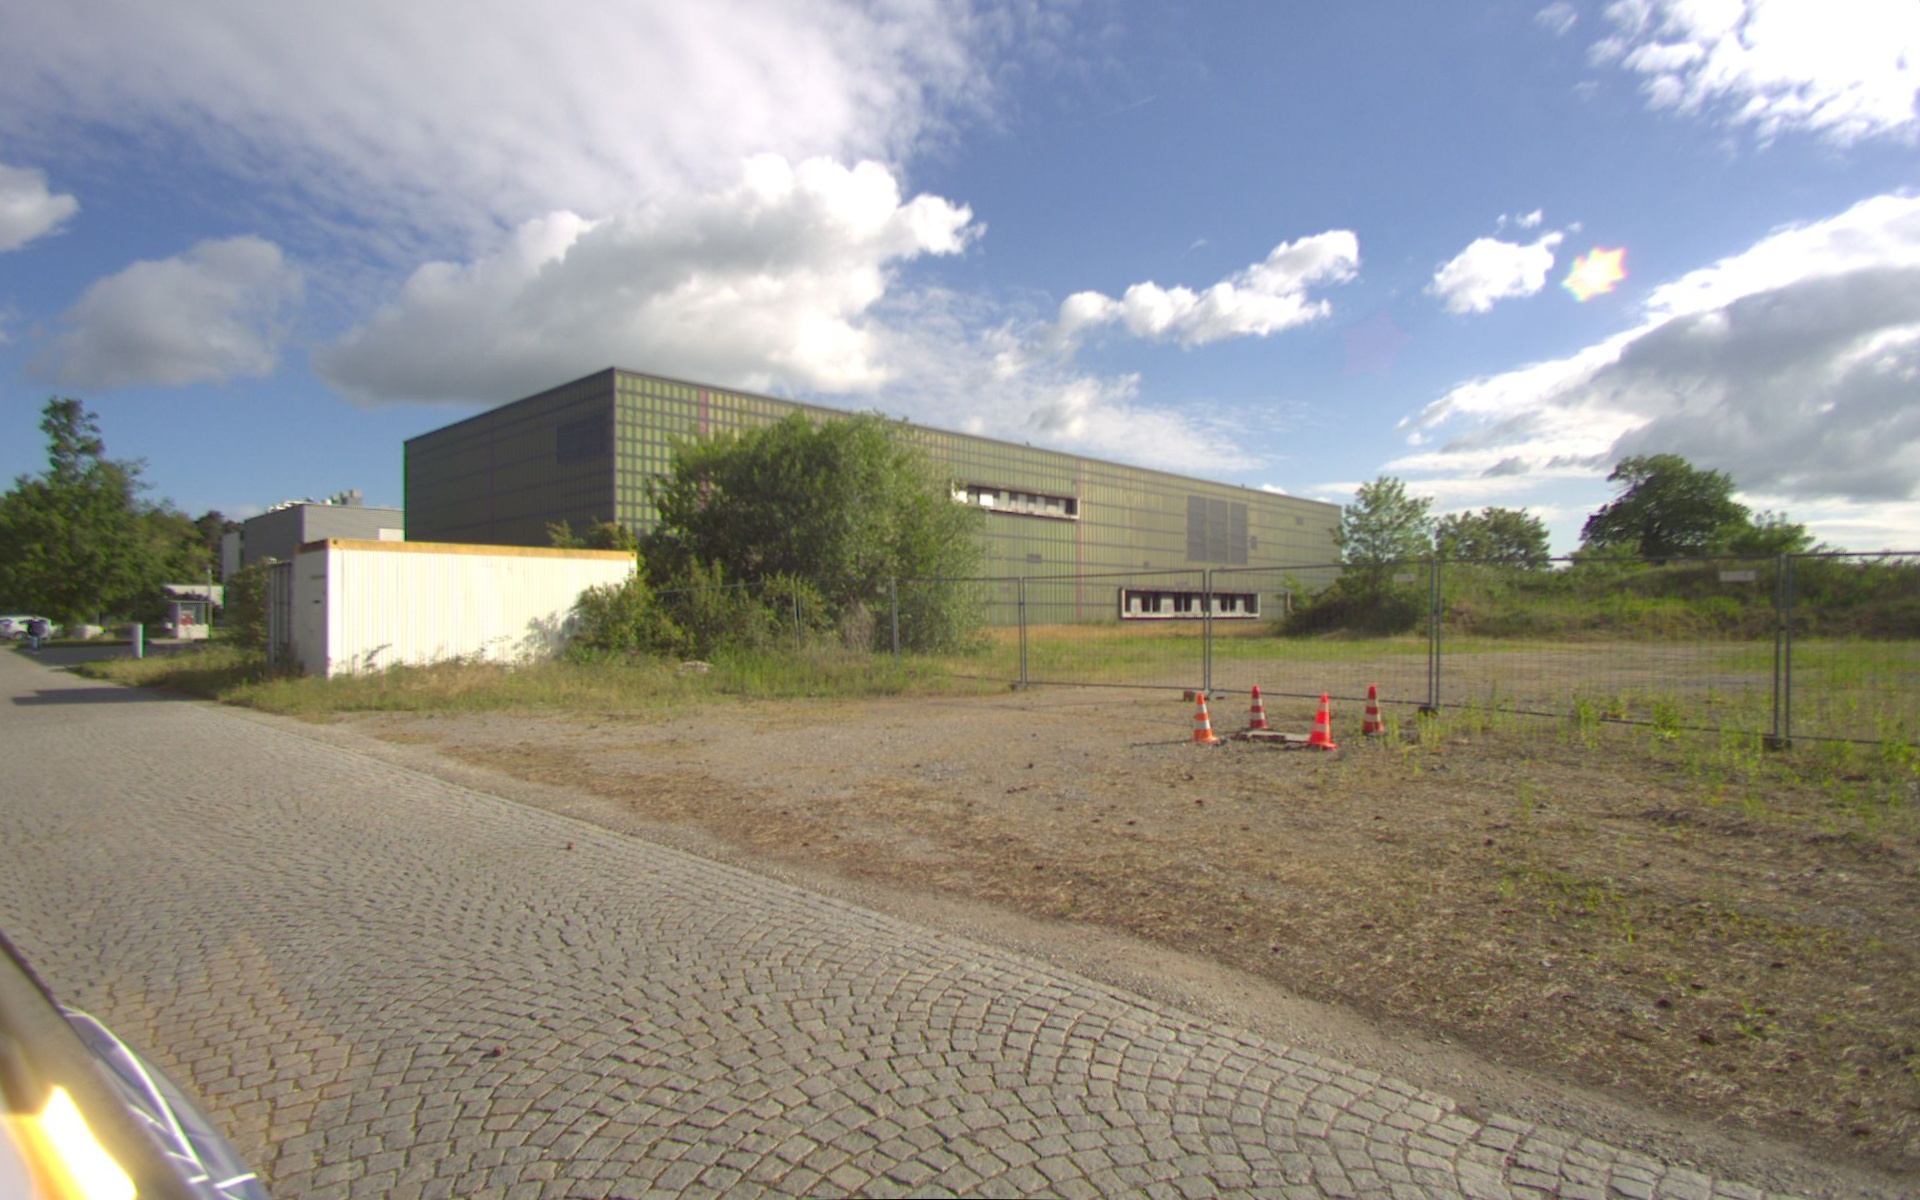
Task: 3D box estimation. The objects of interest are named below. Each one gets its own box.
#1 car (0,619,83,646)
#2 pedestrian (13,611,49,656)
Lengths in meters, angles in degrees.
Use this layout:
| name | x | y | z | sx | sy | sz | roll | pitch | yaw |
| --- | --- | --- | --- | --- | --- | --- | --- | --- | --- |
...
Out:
| name | x | y | z | sx | sy | sz | roll | pitch | yaw |
| --- | --- | --- | --- | --- | --- | --- | --- | --- | --- |
| car | -58.949 | 2.059 | 64.934 | 3.940 | 1.701 | 2.002 | 1 | -2 | -44 |
| pedestrian | -38.298 | 1.371 | 41.726 | 0.982 | 1.821 | 0.897 | -1 | -2 | 36 |
